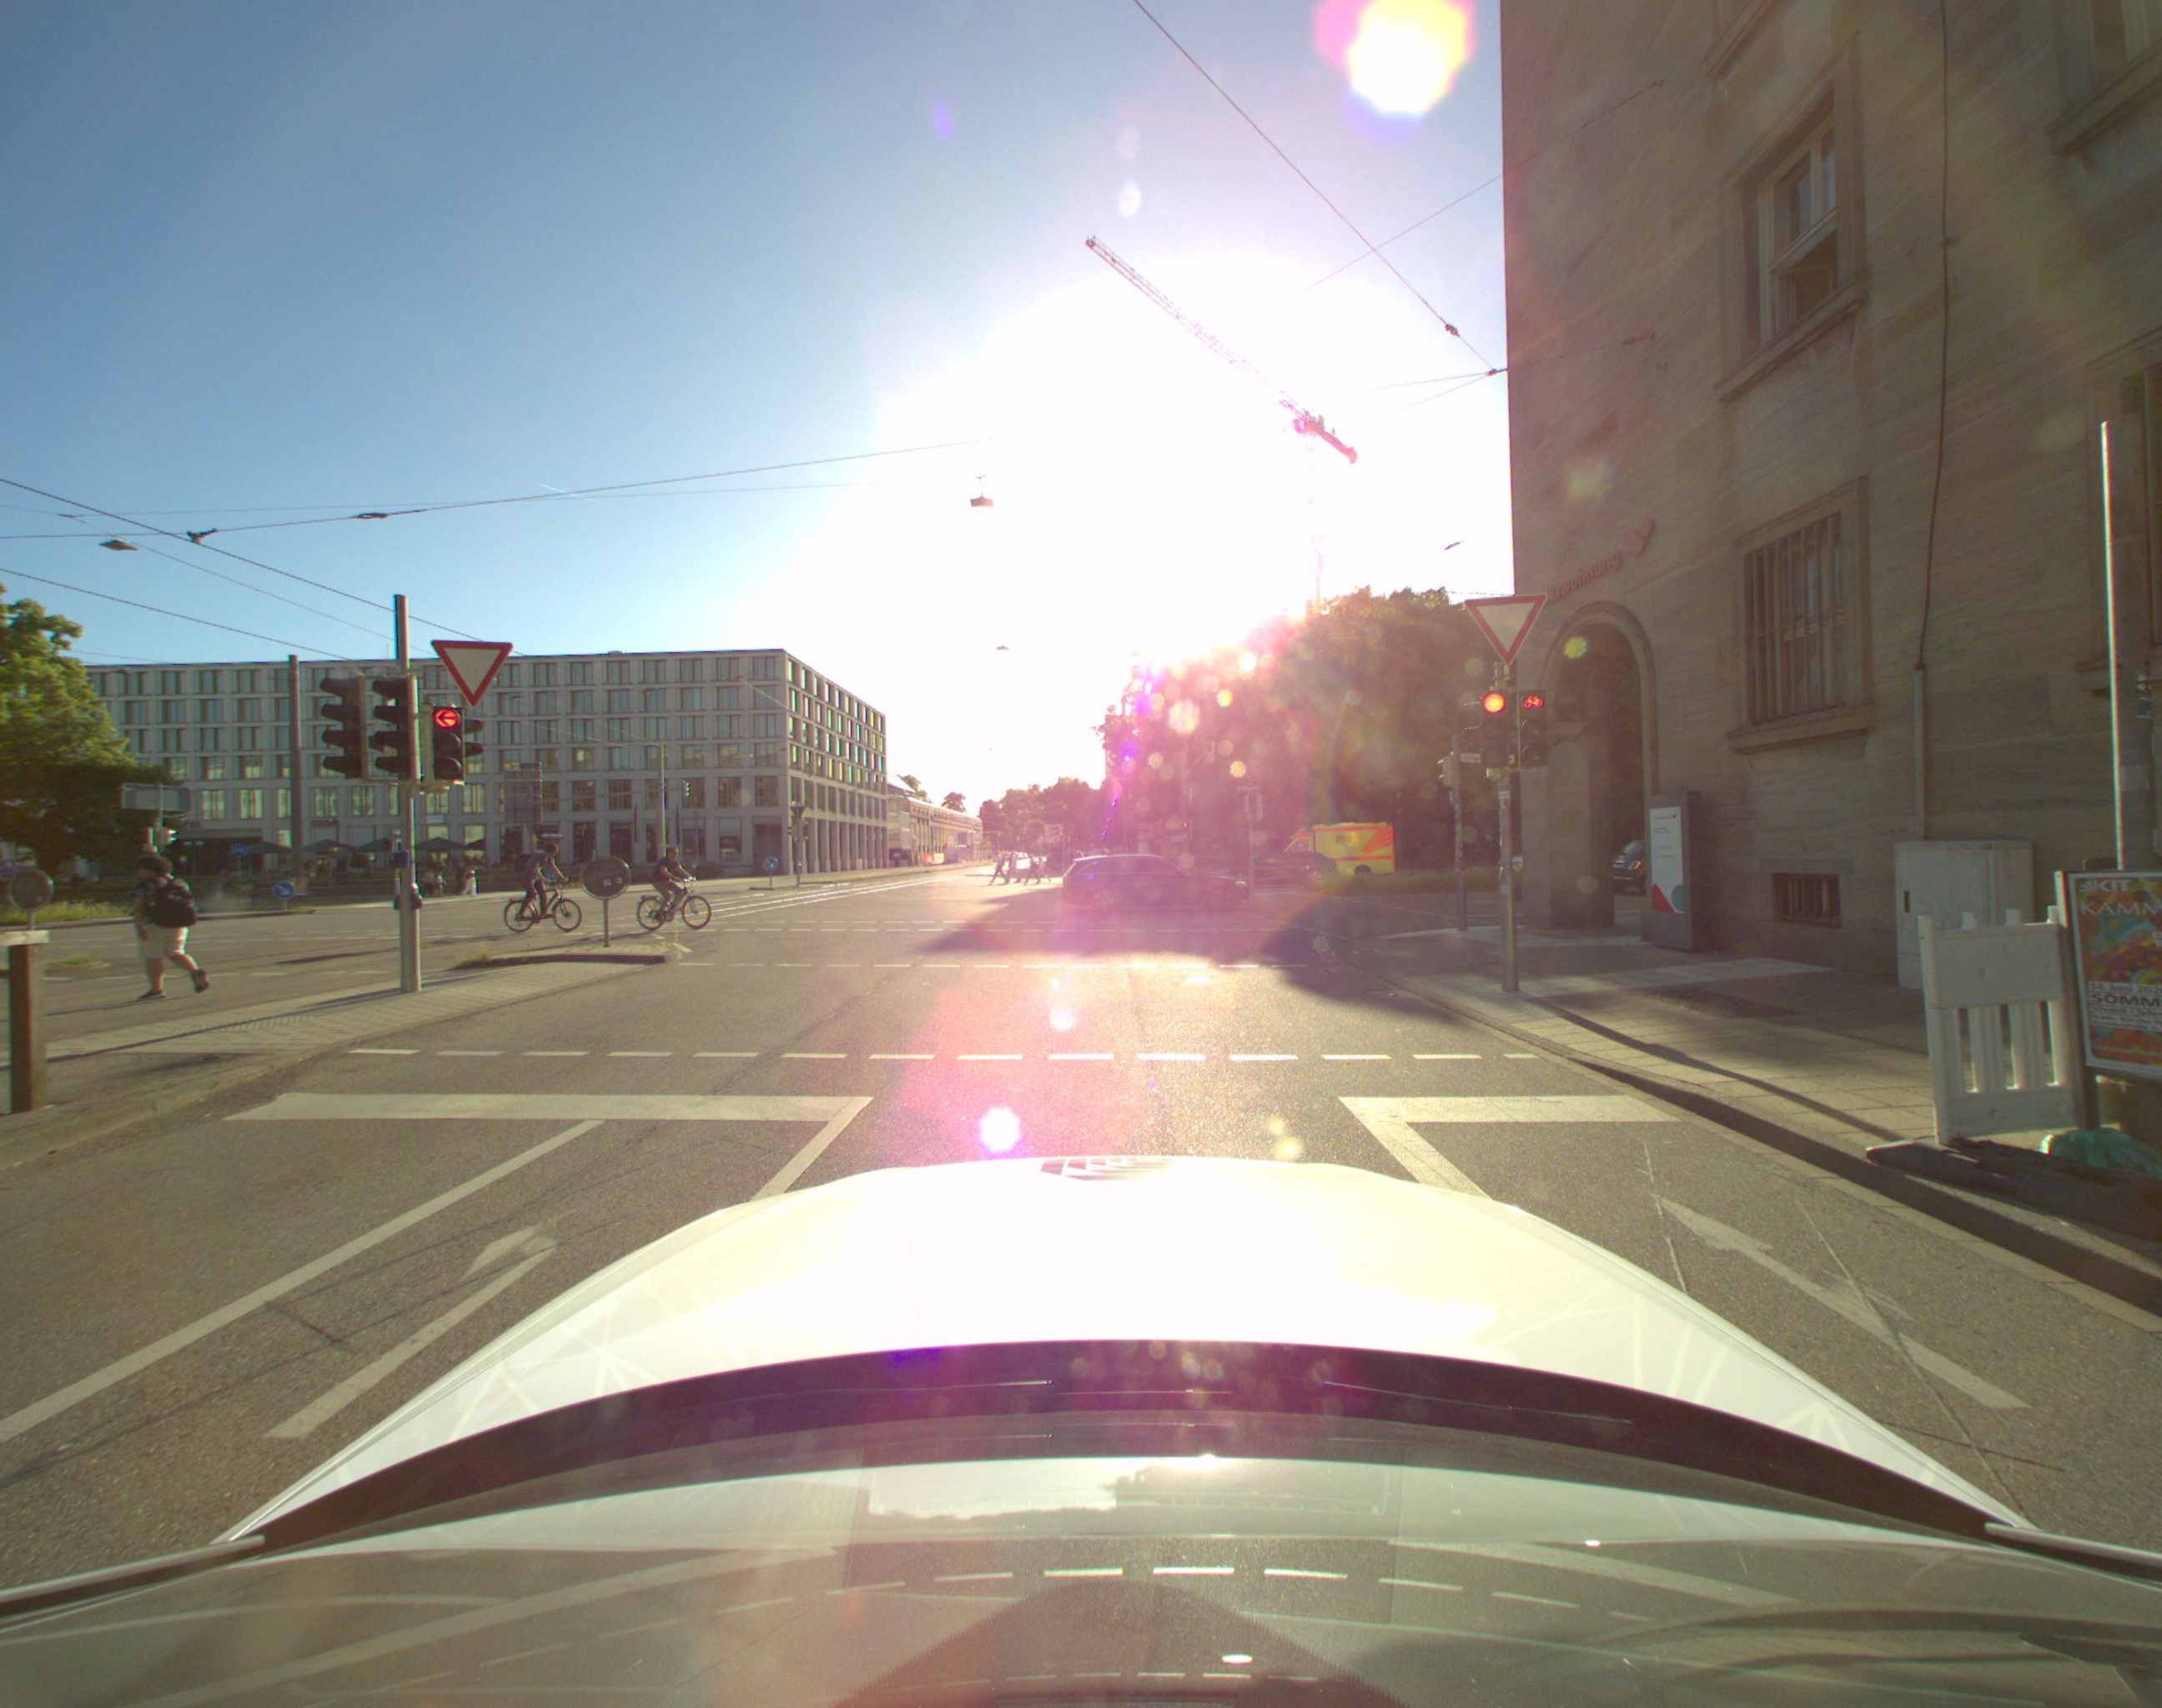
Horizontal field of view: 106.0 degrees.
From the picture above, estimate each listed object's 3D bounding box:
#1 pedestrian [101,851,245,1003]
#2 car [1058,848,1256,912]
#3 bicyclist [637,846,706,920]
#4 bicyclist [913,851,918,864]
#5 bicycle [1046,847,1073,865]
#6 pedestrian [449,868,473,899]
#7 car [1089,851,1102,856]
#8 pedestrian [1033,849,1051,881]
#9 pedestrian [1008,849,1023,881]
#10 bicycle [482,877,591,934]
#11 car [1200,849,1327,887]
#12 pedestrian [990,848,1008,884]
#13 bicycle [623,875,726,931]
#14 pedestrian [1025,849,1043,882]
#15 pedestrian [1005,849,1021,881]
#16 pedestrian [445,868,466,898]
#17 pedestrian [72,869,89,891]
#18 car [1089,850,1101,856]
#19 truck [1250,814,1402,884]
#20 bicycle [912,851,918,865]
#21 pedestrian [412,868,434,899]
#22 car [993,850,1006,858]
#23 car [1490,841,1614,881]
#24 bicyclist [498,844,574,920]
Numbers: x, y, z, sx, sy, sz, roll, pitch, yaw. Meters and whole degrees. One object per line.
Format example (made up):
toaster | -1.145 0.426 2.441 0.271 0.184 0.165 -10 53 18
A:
pedestrian | -10.843 0.837 9.760 0.756 1.717 0.826 -2 0 -2
car | 1.940 0.650 21.442 4.921 1.511 2.212 -1 1 2
bicyclist | -8.790 0.617 17.508 0.997 1.512 0.768 -2 2 5
bicyclist | -26.758 0.600 131.600 0.569 2.024 0.762 -2 0 0
bicycle | -2.151 0.213 81.651 2.538 1.743 1.038 0 -1 1
pedestrian | -33.881 1.594 44.511 0.790 1.644 0.621 -2 0 -3
car | 3.720 -0.162 211.286 3.210 1.263 1.371 0 -1 -4
pedestrian | -2.206 0.627 46.203 0.865 1.803 0.533 -2 0 7
pedestrian | -3.746 0.626 46.789 0.735 1.803 0.533 -2 0 7
bicycle | -11.890 1.109 17.819 1.864 1.158 0.767 -2 0 4
car | 7.336 0.573 33.038 4.718 1.415 2.000 -1 -2 1
pedestrian | -4.515 0.642 44.725 0.797 1.918 0.638 -2 0 7
bicycle | -8.724 1.048 17.514 1.804 1.085 0.768 -2 2 5
pedestrian | -2.646 0.655 45.663 0.865 1.803 0.665 -2 0 7
pedestrian | -3.848 0.616 46.121 0.735 1.803 0.717 -2 0 7
pedestrian | -35.098 1.601 45.697 0.692 1.644 0.621 -2 0 -3
pedestrian | -76.542 1.975 62.293 0.538 1.669 0.561 0 -1 -2
car | 3.655 -0.325 213.653 3.207 1.588 1.445 0 -1 -3
truck | 11.401 -0.225 38.396 6.437 3.016 2.729 -1 0 5
bicycle | -26.749 0.685 131.502 0.569 2.296 1.422 -2 0 0
pedestrian | -35.987 1.600 44.552 0.690 1.644 0.623 -2 0 9
car | -15.732 0.022 157.146 1.888 1.607 4.499 -2 0 0
car | 18.972 0.287 32.902 4.029 1.434 1.632 -2 -1 0
bicyclist | -11.917 0.607 17.836 1.118 1.594 0.767 -2 0 5
